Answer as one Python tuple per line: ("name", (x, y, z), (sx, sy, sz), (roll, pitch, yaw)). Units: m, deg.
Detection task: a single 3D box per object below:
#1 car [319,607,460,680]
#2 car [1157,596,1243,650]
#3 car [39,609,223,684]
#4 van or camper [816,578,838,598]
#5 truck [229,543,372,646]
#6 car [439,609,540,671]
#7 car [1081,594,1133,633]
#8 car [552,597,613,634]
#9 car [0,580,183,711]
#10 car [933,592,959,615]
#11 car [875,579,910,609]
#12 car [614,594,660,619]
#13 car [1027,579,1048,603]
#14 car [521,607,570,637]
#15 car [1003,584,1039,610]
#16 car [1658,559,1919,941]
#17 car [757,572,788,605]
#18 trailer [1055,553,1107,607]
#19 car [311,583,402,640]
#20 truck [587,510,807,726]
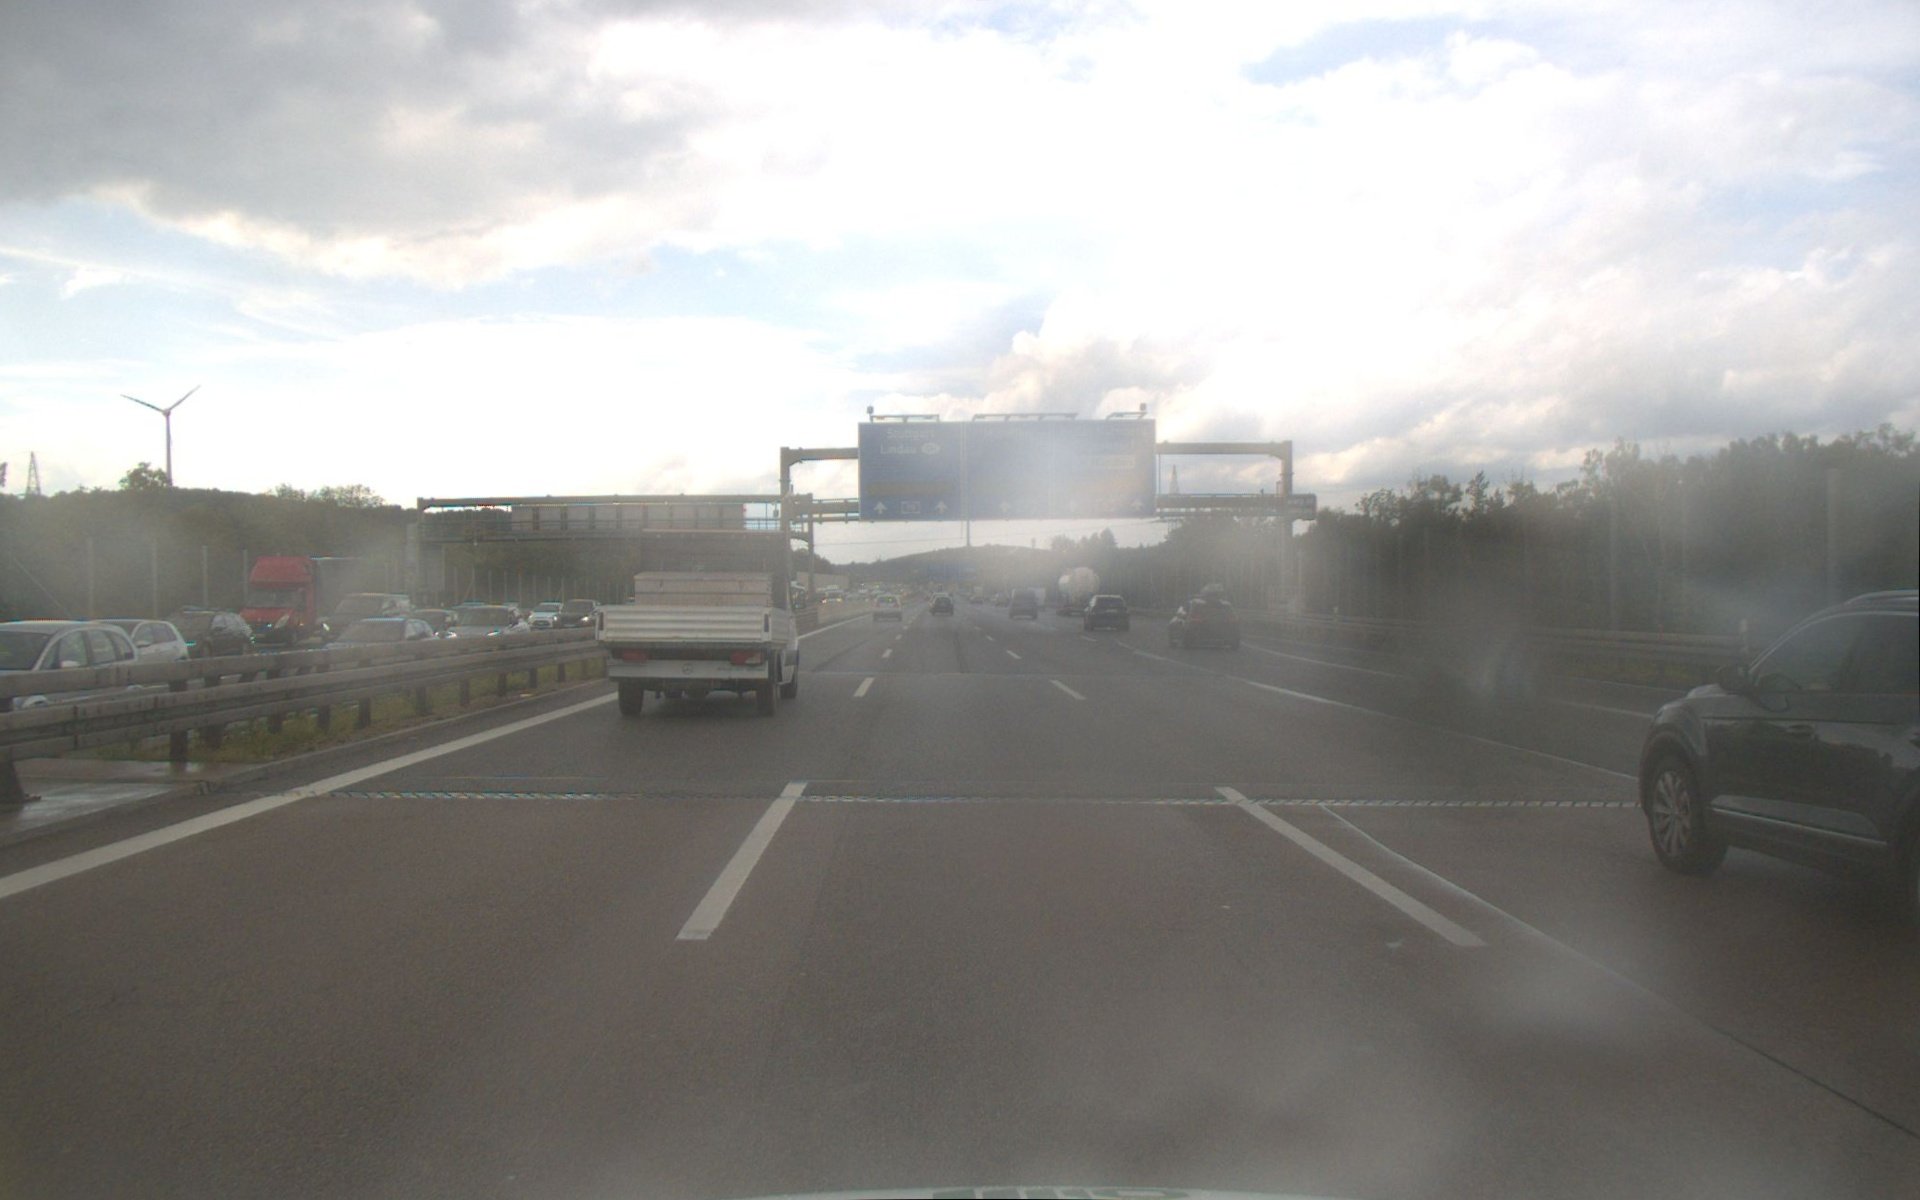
("car", (-12.885, 0.933, 37.663), (1.612, 1.465, 4.729), (0, 1, -1))
("car", (7.578, 0.715, 52.754), (2.061, 1.634, 5.066), (0, 0, 1))
("car", (-17.229, 0.924, 34.619), (1.612, 1.432, 4.542), (0, 0, -1))
("van or camper", (-14.929, -1.315, 185.560), (2.052, 2.224, 4.970), (0, 0, -1))
("truck", (-24.572, -0.253, 62.044), (2.414, 3.598, 7.805), (0, 1, -2))
("car", (-14.250, 1.167, 50.323), (1.835, 1.676, 4.720), (0, 1, -2))
("car", (6.805, 0.606, 77.118), (2.003, 1.729, 5.007), (0, 1, 1))
("car", (-17.974, 0.718, 79.018), (1.844, 1.626, 5.134), (0, 1, -2))
("car", (-12.512, 0.569, 22.812), (1.756, 1.647, 3.999), (0, 0, -1))
("car", (-1.083, 0.293, 130.106), (2.004, 1.729, 3.999), (0, 1, -1))
("car", (-4.061, -0.379, 99.750), (2.003, 1.729, 3.999), (0, 1, -1))
("car", (-18.342, 0.351, 94.063), (1.851, 1.363, 4.562), (0, 1, -2))
("car", (8.241, -0.997, 177.045), (2.003, 2.541, 3.999), (0, 1, -1))
("car", (-21.971, 1.144, 87.838), (1.588, 1.472, 4.415), (0, 1, -2))
("car", (4.225, -0.202, 114.451), (2.056, 1.729, 3.997), (0, 1, -4))
("car", (4.888, 0.628, 7.694), (1.755, 1.589, 3.722), (1, 0, 1))
("car", (-19.499, -1.214, 172.191), (2.447, 3.358, 7.625), (0, 0, -1))
("trailer", (9.815, -1.612, 135.574), (3.265, 4.248, 11.836), (1, 0, -1))
("car", (-21.365, 0.359, 58.725), (1.551, 1.923, 4.819), (0, 1, -2))
("truck", (-3.364, 0.170, 22.714), (2.306, 2.450, 7.352), (1, 1, -4))
